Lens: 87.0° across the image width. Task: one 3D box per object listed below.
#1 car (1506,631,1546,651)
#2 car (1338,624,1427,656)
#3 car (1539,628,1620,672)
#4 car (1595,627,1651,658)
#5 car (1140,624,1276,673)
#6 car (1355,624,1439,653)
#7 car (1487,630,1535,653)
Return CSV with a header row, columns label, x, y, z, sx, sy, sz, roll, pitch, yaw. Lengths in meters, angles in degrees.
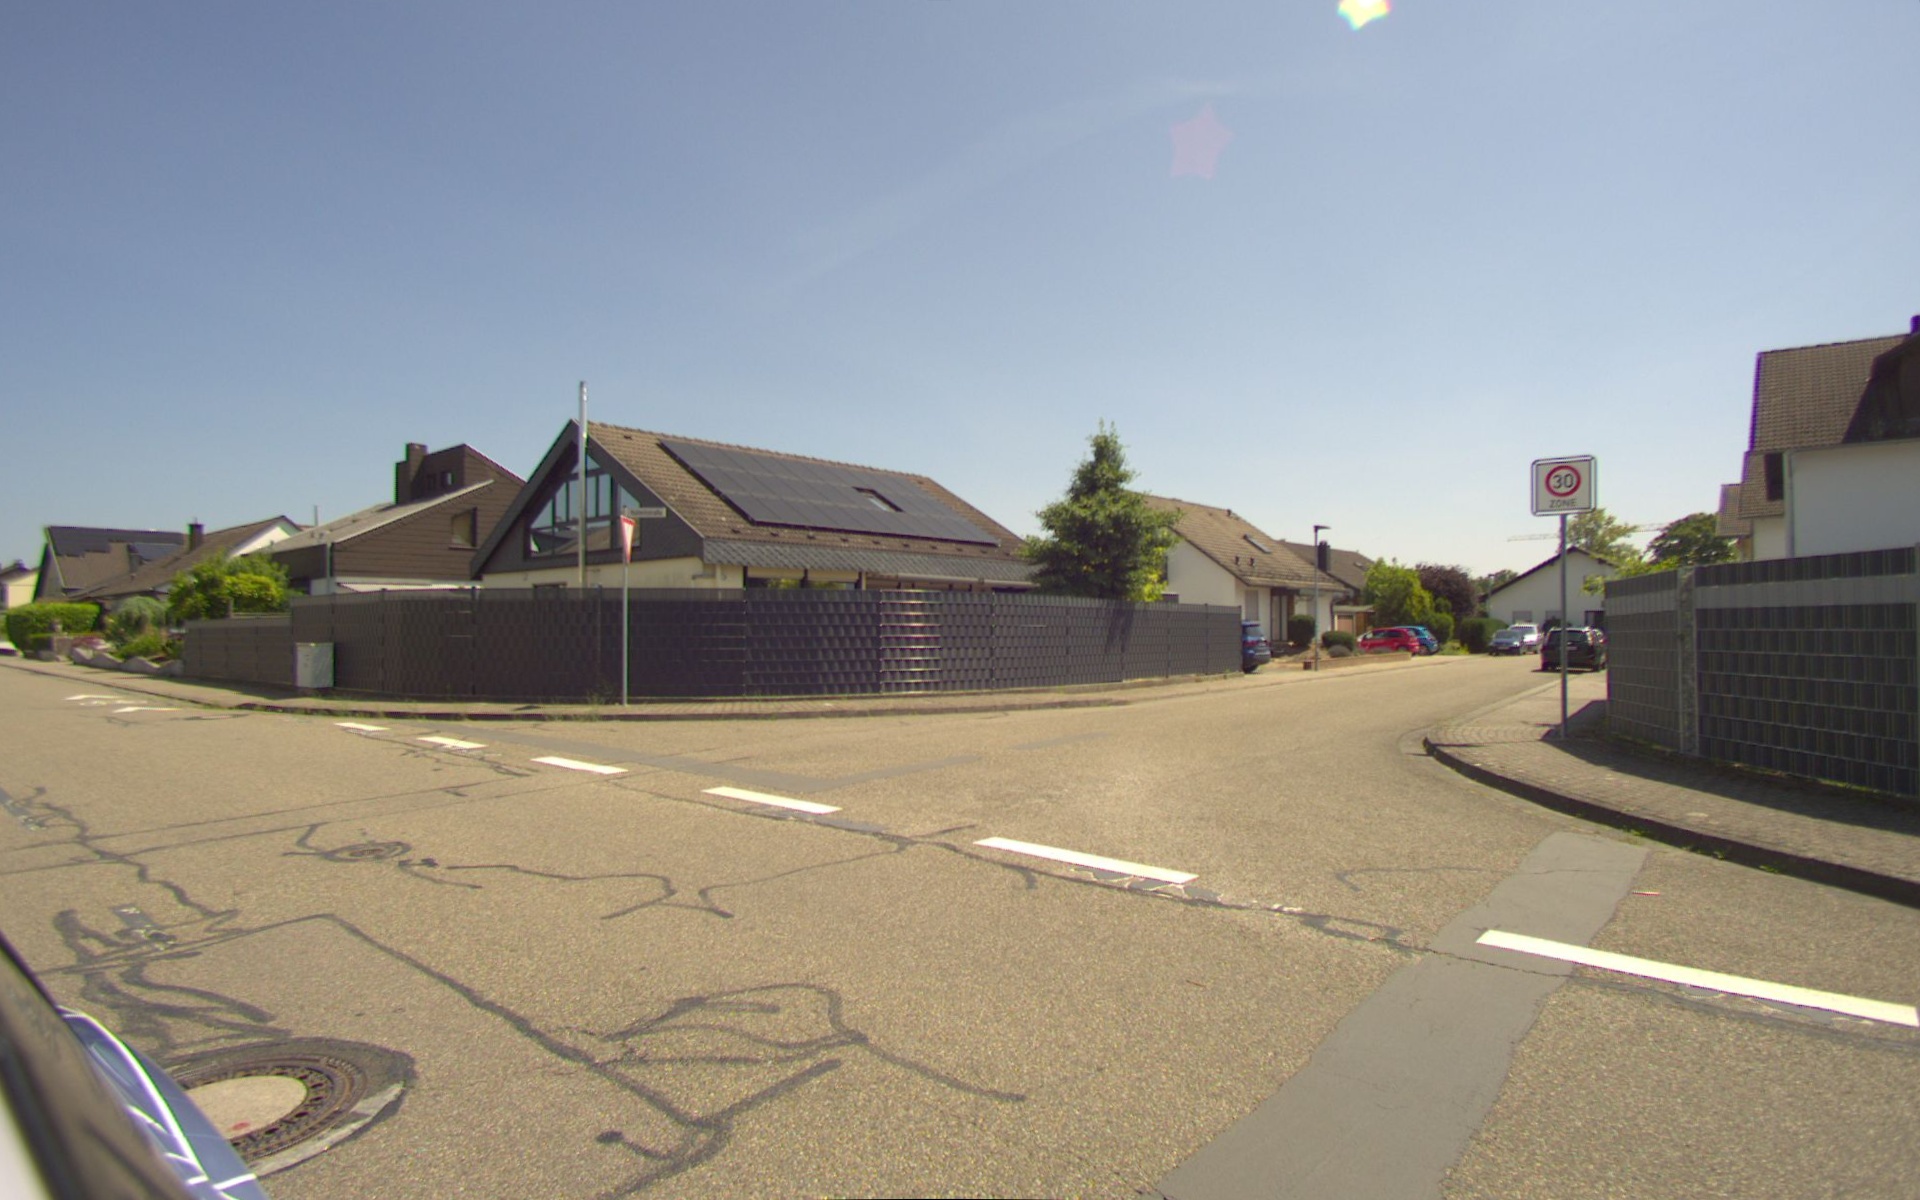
label,x,y,z,sx,sy,sz,roll,pitch,yaw
car,33.502,2.410,59.851,1.496,1.179,3.386,-1,-2,39
car,21.738,2.024,52.133,3.950,1.599,1.738,-1,-2,35
car,21.566,1.690,35.184,1.772,1.424,3.945,-1,-2,41
car,32.668,2.057,49.813,1.772,1.424,3.945,-1,-2,41
car,7.872,1.513,32.201,3.867,1.457,1.738,-1,-2,35
car,23.394,2.035,54.192,3.909,1.497,1.659,-1,-2,35
car,30.851,2.302,56.633,1.704,1.254,3.904,-1,-2,39
